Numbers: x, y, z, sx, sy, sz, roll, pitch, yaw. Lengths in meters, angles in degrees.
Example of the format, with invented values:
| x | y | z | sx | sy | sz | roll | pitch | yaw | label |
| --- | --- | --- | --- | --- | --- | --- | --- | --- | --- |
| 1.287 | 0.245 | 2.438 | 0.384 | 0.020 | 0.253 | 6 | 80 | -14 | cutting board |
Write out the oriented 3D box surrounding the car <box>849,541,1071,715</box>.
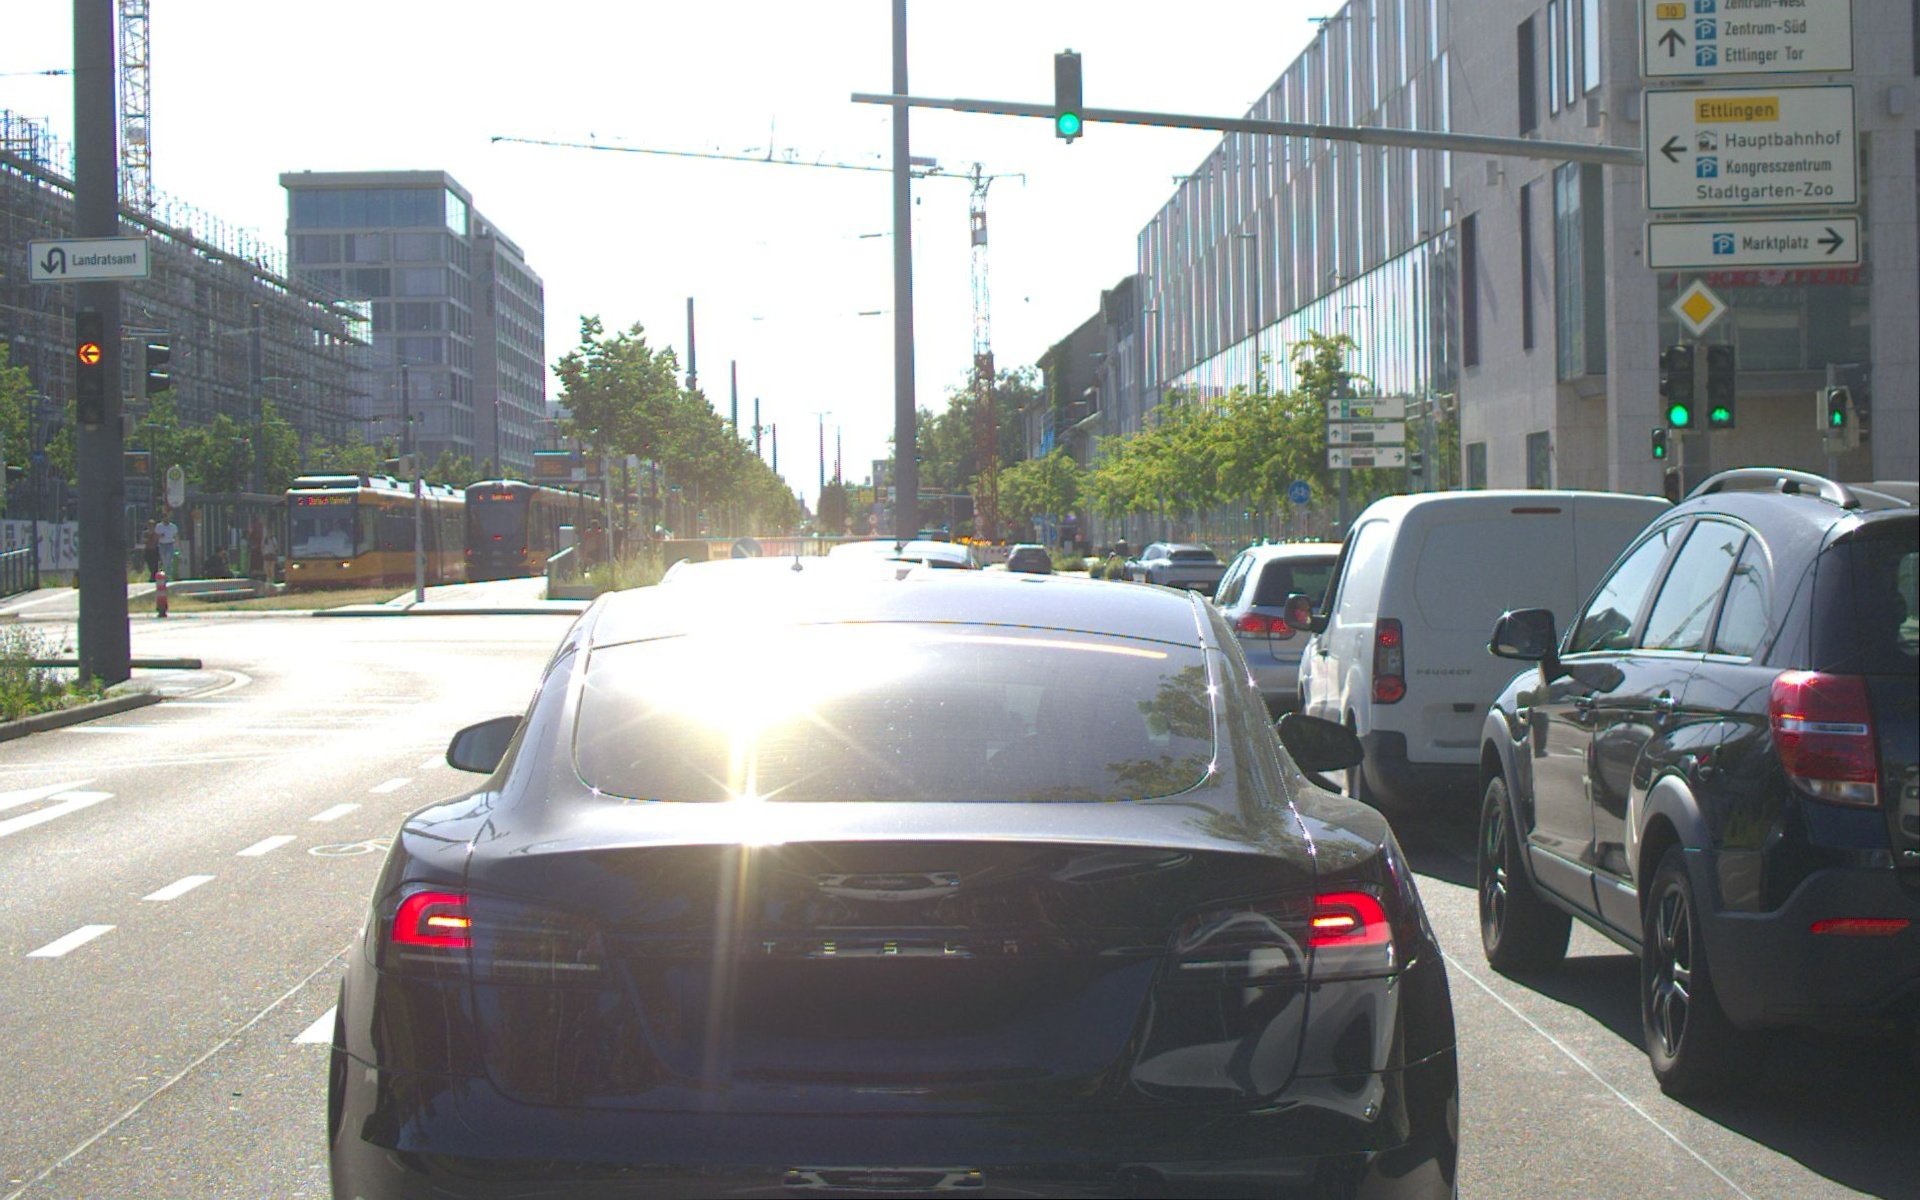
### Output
| x | y | z | sx | sy | sz | roll | pitch | yaw | label |
| --- | --- | --- | --- | --- | --- | --- | --- | --- | --- |
| -0.022 | 0.184 | 28.791 | 1.716 | 1.315 | 4.000 | 0 | 1 | -1 | car |

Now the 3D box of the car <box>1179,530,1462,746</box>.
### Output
| x | y | z | sx | sy | sz | roll | pitch | yaw | label |
| --- | --- | --- | --- | --- | --- | --- | --- | --- | --- |
| 2.750 | 0.238 | 27.017 | 1.784 | 1.540 | 4.039 | 0 | 1 | 0 | car |

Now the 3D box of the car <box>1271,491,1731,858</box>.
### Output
| x | y | z | sx | sy | sz | roll | pitch | yaw | label |
| --- | --- | --- | --- | --- | --- | --- | --- | --- | --- |
| 2.753 | 0.301 | 18.368 | 1.784 | 1.728 | 4.163 | 0 | 1 | 0 | car |

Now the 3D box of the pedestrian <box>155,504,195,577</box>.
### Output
| x | y | z | sx | sy | sz | roll | pitch | yaw | label |
| --- | --- | --- | --- | --- | --- | --- | --- | --- | --- |
| -19.578 | -1.488 | 85.749 | 0.800 | 1.817 | 0.976 | -1 | 1 | -4 | pedestrian |

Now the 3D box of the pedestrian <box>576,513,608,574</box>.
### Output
| x | y | z | sx | sy | sz | roll | pitch | yaw | label |
| --- | --- | --- | --- | --- | --- | --- | --- | --- | --- |
| -9.886 | -1.529 | 92.317 | 0.741 | 1.623 | 0.861 | -1 | 1 | 0 | pedestrian |

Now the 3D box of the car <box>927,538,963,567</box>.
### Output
| x | y | z | sx | sy | sz | roll | pitch | yaw | label |
| --- | --- | --- | --- | --- | --- | --- | --- | --- | --- |
| -0.841 | -2.625 | 190.707 | 1.934 | 1.536 | 4.000 | 0 | 1 | -1 | car |

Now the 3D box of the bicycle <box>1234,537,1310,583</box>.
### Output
| x | y | z | sx | sy | sz | roll | pitch | yaw | label |
| --- | --- | --- | --- | --- | --- | --- | --- | --- | --- |
| 8.792 | -1.136 | 97.017 | 2.086 | 1.201 | 0.950 | -2 | 1 | 5 | bicycle |

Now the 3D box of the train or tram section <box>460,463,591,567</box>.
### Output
| x | y | z | sx | sy | sz | roll | pitch | yaw | label |
| --- | --- | --- | --- | --- | --- | --- | --- | --- | --- |
| -14.656 | -2.858 | 117.133 | 2.870 | 3.268 | 15.186 | 1 | 1 | -2 | train or tram section |

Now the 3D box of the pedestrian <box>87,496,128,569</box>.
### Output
| x | y | z | sx | sy | sz | roll | pitch | yaw | label |
| --- | --- | --- | --- | --- | --- | --- | --- | --- | --- |
| -21.326 | -1.687 | 86.048 | 0.800 | 1.817 | 0.976 | -1 | 1 | -4 | pedestrian |

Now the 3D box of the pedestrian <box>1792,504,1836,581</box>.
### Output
| x | y | z | sx | sy | sz | roll | pitch | yaw | label |
| --- | --- | --- | --- | --- | --- | --- | --- | --- | --- |
| 18.160 | -1.229 | 73.105 | 0.747 | 1.602 | 0.557 | -1 | 2 | -2 | pedestrian |

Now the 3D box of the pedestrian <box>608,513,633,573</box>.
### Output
| x | y | z | sx | sy | sz | roll | pitch | yaw | label |
| --- | --- | --- | --- | --- | --- | --- | --- | --- | --- |
| -10.199 | -1.713 | 103.324 | 0.703 | 1.769 | 0.959 | 1 | 2 | -4 | pedestrian |

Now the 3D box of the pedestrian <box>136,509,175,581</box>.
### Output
| x | y | z | sx | sy | sz | roll | pitch | yaw | label |
| --- | --- | --- | --- | --- | --- | --- | --- | --- | --- |
| -20.673 | -1.417 | 88.340 | 0.800 | 1.817 | 0.976 | -1 | 1 | -4 | pedestrian |

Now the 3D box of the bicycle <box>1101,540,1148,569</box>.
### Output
| x | y | z | sx | sy | sz | roll | pitch | yaw | label |
| --- | --- | --- | --- | --- | --- | --- | --- | --- | --- |
| 7.050 | -1.949 | 147.268 | 1.881 | 1.147 | 0.672 | -3 | 1 | -11 | bicycle |

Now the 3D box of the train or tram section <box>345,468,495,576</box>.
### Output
| x | y | z | sx | sy | sz | roll | pitch | yaw | label |
| --- | --- | --- | --- | --- | --- | --- | --- | --- | --- |
| -17.781 | -2.495 | 114.394 | 2.847 | 3.310 | 15.967 | 1 | 1 | -2 | train or tram section |

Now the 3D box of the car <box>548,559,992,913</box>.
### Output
| x | y | z | sx | sy | sz | roll | pitch | yaw | label |
| --- | --- | --- | --- | --- | --- | --- | --- | --- | --- |
| -0.760 | 0.506 | 15.360 | 1.716 | 1.315 | 4.000 | 0 | 1 | -1 | car |

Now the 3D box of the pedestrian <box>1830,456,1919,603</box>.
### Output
| x | y | z | sx | sy | sz | roll | pitch | yaw | label |
| --- | --- | --- | --- | --- | --- | --- | --- | --- | --- |
| 12.726 | -0.975 | 47.559 | 0.946 | 2.007 | 1.080 | -1 | 1 | -12 | pedestrian |

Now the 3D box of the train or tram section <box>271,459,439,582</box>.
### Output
| x | y | z | sx | sy | sz | roll | pitch | yaw | label |
| --- | --- | --- | --- | --- | --- | --- | --- | --- | --- |
| -17.422 | -2.278 | 99.869 | 2.870 | 3.298 | 13.074 | 1 | 1 | -2 | train or tram section |

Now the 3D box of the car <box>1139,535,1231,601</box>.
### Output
| x | y | z | sx | sy | sz | roll | pitch | yaw | label |
| --- | --- | --- | --- | --- | --- | --- | --- | --- | --- |
| 5.520 | -0.803 | 84.741 | 1.934 | 1.536 | 4.000 | 0 | 1 | -1 | car |

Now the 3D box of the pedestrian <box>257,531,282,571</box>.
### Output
| x | y | z | sx | sy | sz | roll | pitch | yaw | label |
| --- | --- | --- | --- | --- | --- | --- | --- | --- | --- |
| -20.876 | -1.478 | 103.881 | 0.671 | 1.222 | 0.506 | 1 | 0 | -4 | pedestrian |

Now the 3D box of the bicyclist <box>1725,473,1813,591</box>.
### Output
| x | y | z | sx | sy | sz | roll | pitch | yaw | label |
| --- | --- | --- | --- | --- | --- | --- | --- | --- | --- |
| 10.290 | -0.869 | 43.766 | 0.881 | 1.472 | 0.883 | -1 | 1 | -1 | bicyclist |

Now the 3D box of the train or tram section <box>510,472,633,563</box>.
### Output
| x | y | z | sx | sy | sz | roll | pitch | yaw | label |
| --- | --- | --- | --- | --- | --- | --- | --- | --- | --- |
| -15.148 | -3.201 | 135.780 | 2.870 | 3.268 | 22.145 | 1 | 1 | -2 | train or tram section |

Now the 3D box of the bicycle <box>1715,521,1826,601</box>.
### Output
| x | y | z | sx | sy | sz | roll | pitch | yaw | label |
| --- | --- | --- | --- | --- | --- | --- | --- | --- | --- |
| 10.300 | -0.505 | 43.750 | 0.881 | 0.981 | 2.051 | -1 | 1 | -1 | bicycle |

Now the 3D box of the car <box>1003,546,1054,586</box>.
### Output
| x | y | z | sx | sy | sz | roll | pitch | yaw | label |
| --- | --- | --- | --- | --- | --- | --- | --- | --- | --- |
| 2.781 | -1.395 | 140.059 | 1.934 | 1.536 | 4.000 | 0 | 1 | -1 | car |

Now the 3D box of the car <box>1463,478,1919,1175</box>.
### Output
| x | y | z | sx | sy | sz | roll | pitch | yaw | label |
| --- | --- | --- | --- | --- | --- | --- | --- | --- | --- |
| 2.769 | 0.492 | 10.556 | 1.784 | 1.693 | 4.413 | 0 | 1 | 0 | car |

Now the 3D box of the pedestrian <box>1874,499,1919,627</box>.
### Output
| x | y | z | sx | sy | sz | roll | pitch | yaw | label |
| --- | --- | --- | --- | --- | --- | --- | --- | --- | --- |
| 13.834 | -0.550 | 49.250 | 0.967 | 1.795 | 1.523 | -3 | 1 | -1 | pedestrian |

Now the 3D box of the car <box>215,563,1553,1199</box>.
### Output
| x | y | z | sx | sy | sz | roll | pitch | yaw | label |
| --- | --- | --- | --- | --- | --- | --- | --- | --- | --- |
| -0.122 | 0.657 | 7.354 | 1.999 | 1.429 | 4.413 | 0 | 1 | 0 | car |
